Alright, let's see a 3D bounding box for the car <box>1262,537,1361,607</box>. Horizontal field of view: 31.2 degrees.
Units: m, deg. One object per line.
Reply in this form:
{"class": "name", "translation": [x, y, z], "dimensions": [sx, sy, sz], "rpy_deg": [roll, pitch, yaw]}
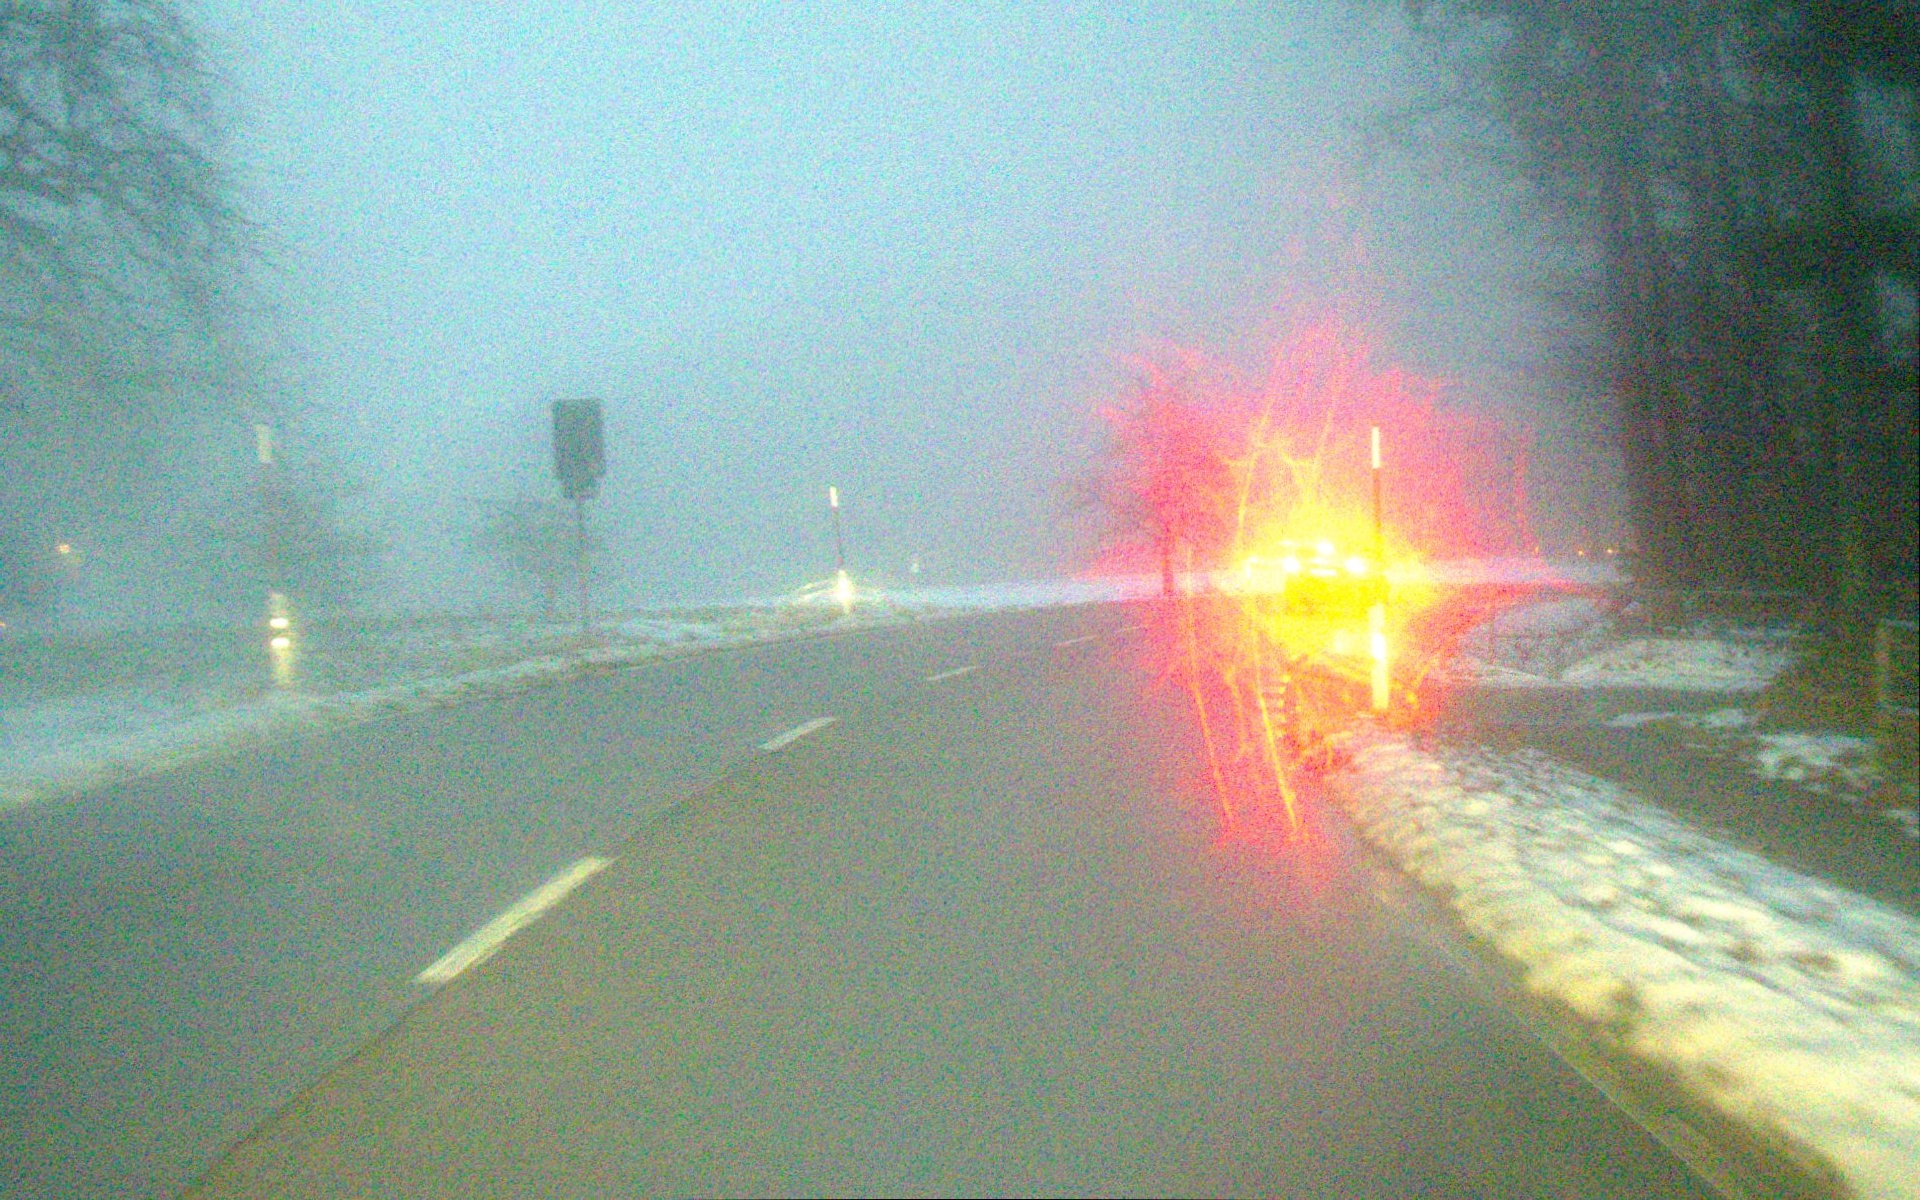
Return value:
{"class": "car", "translation": [7.191, -0.592, 70.493], "dimensions": [1.922, 1.272, 4.000], "rpy_deg": [-1, 2, 5]}
